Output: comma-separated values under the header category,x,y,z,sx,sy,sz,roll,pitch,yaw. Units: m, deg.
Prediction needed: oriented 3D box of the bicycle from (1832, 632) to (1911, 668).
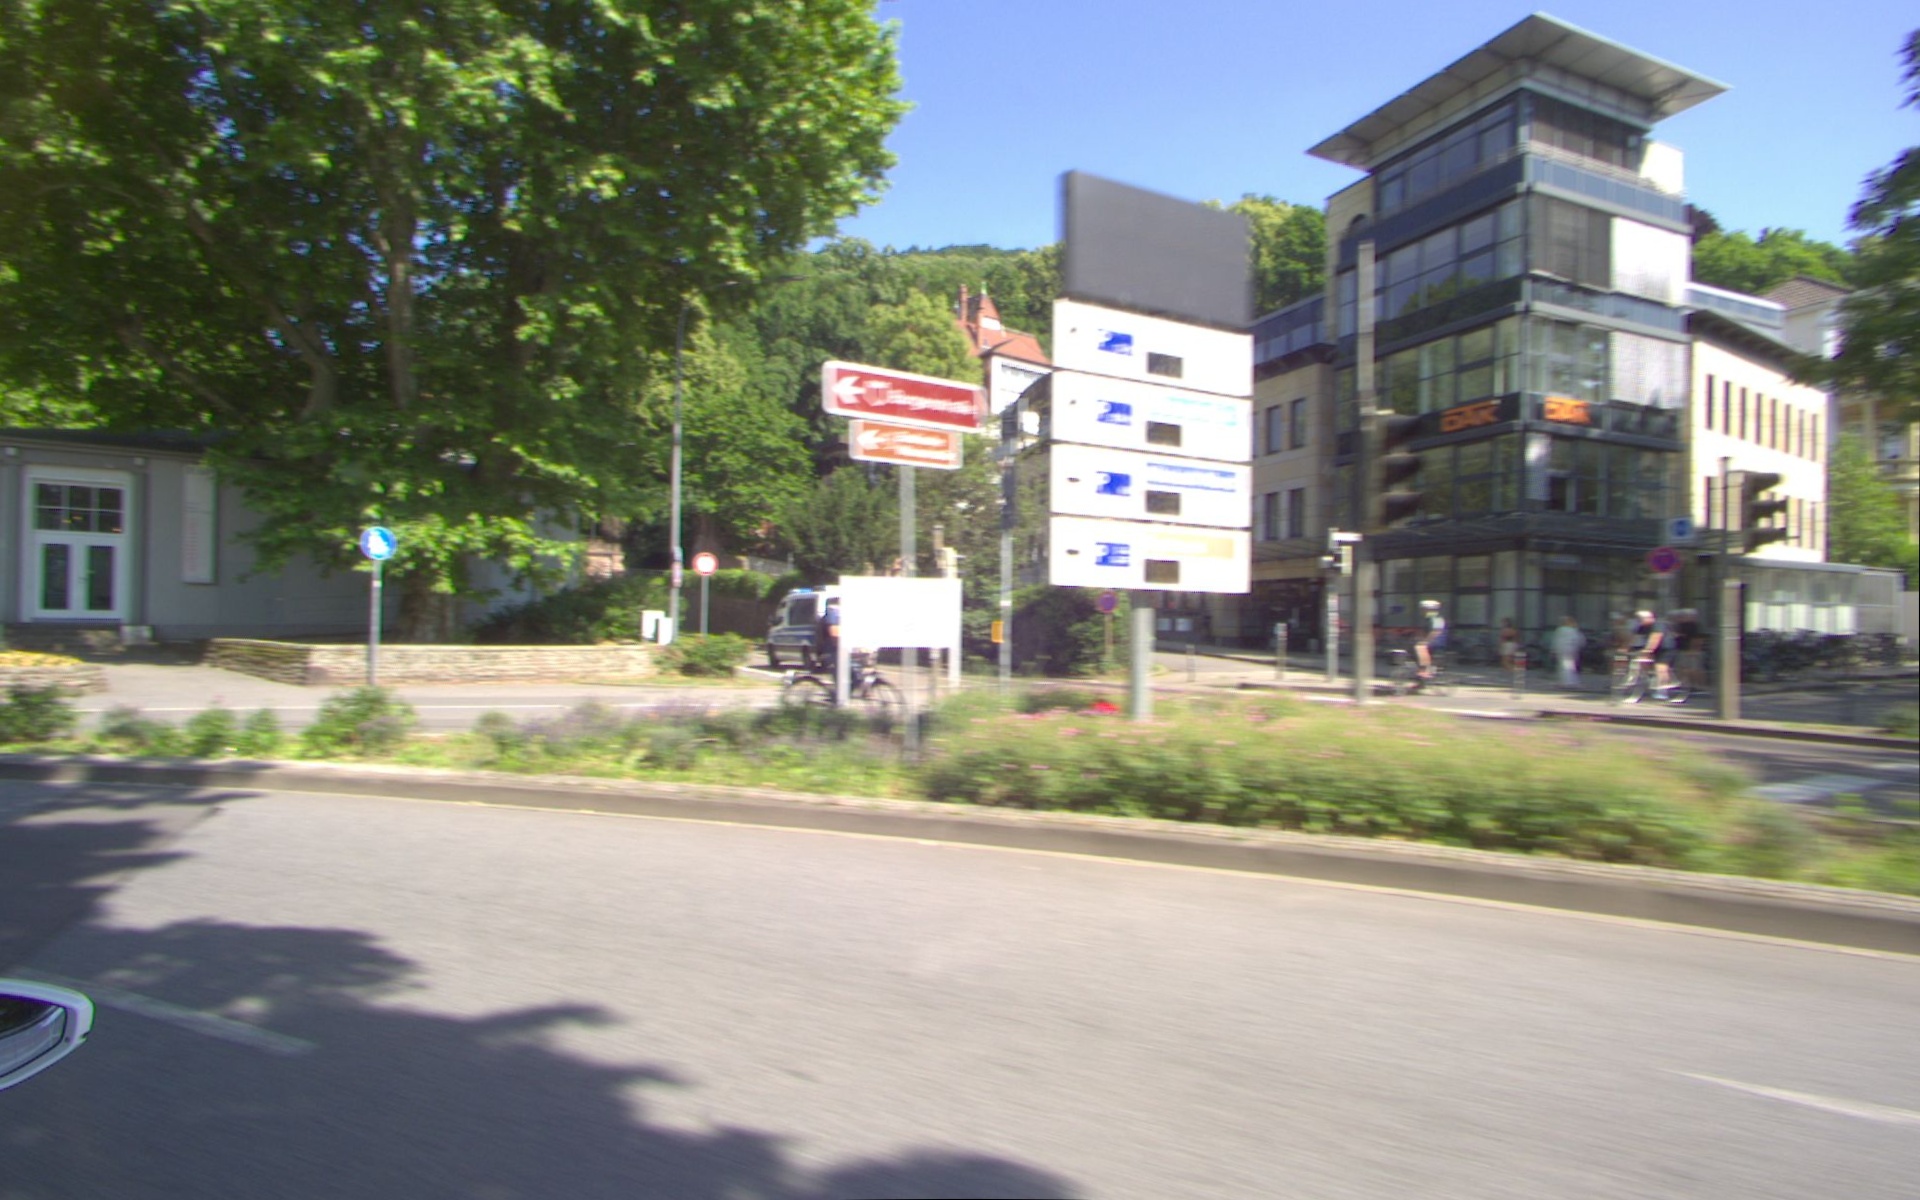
category,x,y,z,sx,sy,sz,roll,pitch,yaw
bicycle,29.258,1.591,32.175,0.530,1.099,1.829,1,-1,-23

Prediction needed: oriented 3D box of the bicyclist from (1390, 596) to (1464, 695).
category,x,y,z,sx,sy,sz,roll,pitch,yaw
bicyclist,9.395,0.916,20.155,1.109,1.957,0.747,1,-1,-13

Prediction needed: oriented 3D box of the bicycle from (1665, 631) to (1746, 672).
category,x,y,z,sx,sy,sz,roll,pitch,yaw
bicycle,21.082,1.436,28.359,0.530,1.099,1.829,1,-1,-23

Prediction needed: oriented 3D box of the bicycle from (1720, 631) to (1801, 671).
category,x,y,z,sx,sy,sz,roll,pitch,yaw
bicycle,23.349,1.473,29.235,0.530,1.099,1.829,1,-1,-23

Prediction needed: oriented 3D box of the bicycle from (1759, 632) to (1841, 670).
category,x,y,z,sx,sy,sz,roll,pitch,yaw
bicycle,25.067,1.502,29.913,0.530,1.099,1.829,1,-1,-23

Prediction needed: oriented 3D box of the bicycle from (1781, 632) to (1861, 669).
category,x,y,z,sx,sy,sz,roll,pitch,yaw
bicycle,26.570,1.541,30.939,0.530,1.099,1.829,1,-1,-23

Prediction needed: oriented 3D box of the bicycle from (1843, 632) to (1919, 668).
category,x,y,z,sx,sy,sz,roll,pitch,yaw
bicycle,29.817,1.599,32.380,0.530,1.099,1.829,1,-1,-23

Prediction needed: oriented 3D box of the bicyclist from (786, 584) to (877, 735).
category,x,y,z,sx,sy,sz,roll,pitch,yaw
bicyclist,-1.720,0.792,13.521,1.107,1.957,0.748,1,-1,0

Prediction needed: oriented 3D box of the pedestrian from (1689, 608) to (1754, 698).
category,x,y,z,sx,sy,sz,roll,pitch,yaw
pedestrian,16.253,1.118,21.375,0.761,1.878,0.827,2,-1,-22

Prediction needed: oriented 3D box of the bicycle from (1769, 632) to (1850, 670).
category,x,y,z,sx,sy,sz,roll,pitch,yaw
bicycle,25.589,1.513,30.201,0.530,1.099,1.829,1,-1,-23

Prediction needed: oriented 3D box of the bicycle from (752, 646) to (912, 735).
category,x,y,z,sx,sy,sz,roll,pitch,yaw
bicycle,-1.693,1.204,13.505,2.042,1.127,0.757,1,-1,0

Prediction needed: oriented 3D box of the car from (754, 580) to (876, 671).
category,x,y,z,sx,sy,sz,roll,pitch,yaw
car,-4.513,0.804,30.472,2.050,2.540,4.905,2,-2,-29

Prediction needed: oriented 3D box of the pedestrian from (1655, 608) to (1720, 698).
category,x,y,z,sx,sy,sz,roll,pitch,yaw
pedestrian,15.493,1.122,21.337,0.760,1.878,0.827,1,-1,-19

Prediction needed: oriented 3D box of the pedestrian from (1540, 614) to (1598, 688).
category,x,y,z,sx,sy,sz,roll,pitch,yaw
pedestrian,14.055,1.171,23.112,0.759,1.684,0.828,1,-1,-15

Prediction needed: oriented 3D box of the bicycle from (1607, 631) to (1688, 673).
category,x,y,z,sx,sy,sz,roll,pitch,yaw
bicycle,18.802,1.398,27.433,0.530,1.099,1.829,1,-1,-23

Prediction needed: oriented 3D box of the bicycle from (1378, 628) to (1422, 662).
category,x,y,z,sx,sy,sz,roll,pitch,yaw
bicycle,13.849,1.397,31.568,0.400,1.026,1.336,0,-1,-24

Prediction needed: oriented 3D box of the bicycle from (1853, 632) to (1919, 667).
category,x,y,z,sx,sy,sz,roll,pitch,yaw
bicycle,30.375,1.610,32.653,0.530,1.099,1.829,1,-1,-23

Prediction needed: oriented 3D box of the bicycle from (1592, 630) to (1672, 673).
category,x,y,z,sx,sy,sz,roll,pitch,yaw
bicycle,18.217,1.387,27.185,0.530,1.099,1.829,1,-1,-23

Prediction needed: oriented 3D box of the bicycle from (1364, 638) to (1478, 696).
category,x,y,z,sx,sy,sz,roll,pitch,yaw
bicycle,9.265,1.343,20.124,2.045,1.127,0.756,1,-1,-13

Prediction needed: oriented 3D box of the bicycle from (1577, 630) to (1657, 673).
category,x,y,z,sx,sy,sz,roll,pitch,yaw
bicycle,17.693,1.380,27.005,0.530,1.099,1.829,1,-1,-23

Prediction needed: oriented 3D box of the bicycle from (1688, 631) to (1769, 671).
category,x,y,z,sx,sy,sz,roll,pitch,yaw
bicycle,22.165,1.458,28.909,0.530,1.099,1.829,1,-1,-23

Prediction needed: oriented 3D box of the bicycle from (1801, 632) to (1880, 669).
category,x,y,z,sx,sy,sz,roll,pitch,yaw
bicycle,27.647,1.562,31.480,0.530,1.099,1.829,1,-1,-23

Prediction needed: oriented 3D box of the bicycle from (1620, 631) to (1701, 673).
category,x,y,z,sx,sy,sz,roll,pitch,yaw
bicycle,19.338,1.408,27.675,0.530,1.099,1.829,1,-1,-23

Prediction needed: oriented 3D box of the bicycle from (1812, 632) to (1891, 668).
category,x,y,z,sx,sy,sz,roll,pitch,yaw
bicycle,28.210,1.572,31.724,0.530,1.099,1.829,1,-1,-23

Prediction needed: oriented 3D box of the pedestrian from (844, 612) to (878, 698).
category,x,y,z,sx,sy,sz,roll,pitch,yaw
pedestrian,-1.942,1.059,19.551,0.539,1.642,0.633,1,0,-16

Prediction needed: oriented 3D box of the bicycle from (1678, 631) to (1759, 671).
category,x,y,z,sx,sy,sz,roll,pitch,yaw
bicycle,21.660,1.447,28.634,0.530,1.099,1.829,1,-1,-23

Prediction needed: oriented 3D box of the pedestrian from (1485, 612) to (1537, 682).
category,x,y,z,sx,sy,sz,roll,pitch,yaw
pedestrian,13.578,1.151,24.689,0.760,1.684,0.828,1,-1,-16

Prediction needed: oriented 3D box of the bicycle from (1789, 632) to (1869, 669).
category,x,y,z,sx,sy,sz,roll,pitch,yaw
bicycle,27.084,1.552,31.241,0.530,1.099,1.829,1,-1,-23

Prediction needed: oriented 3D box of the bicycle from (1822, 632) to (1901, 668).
category,x,y,z,sx,sy,sz,roll,pitch,yaw
bicycle,28.737,1.582,31.960,0.530,1.099,1.829,1,-1,-23

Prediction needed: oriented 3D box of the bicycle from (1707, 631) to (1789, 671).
category,x,y,z,sx,sy,sz,roll,pitch,yaw
bicycle,22.768,1.462,28.968,0.530,1.099,1.829,1,-1,-23

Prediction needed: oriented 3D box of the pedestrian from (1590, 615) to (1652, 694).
category,x,y,z,sx,sy,sz,roll,pitch,yaw
pedestrian,14.435,1.182,21.873,0.760,1.684,0.827,1,-1,-20

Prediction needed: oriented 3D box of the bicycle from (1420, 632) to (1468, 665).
category,x,y,z,sx,sy,sz,roll,pitch,yaw
bicycle,14.448,1.435,29.906,0.400,0.953,1.336,0,-1,-24
